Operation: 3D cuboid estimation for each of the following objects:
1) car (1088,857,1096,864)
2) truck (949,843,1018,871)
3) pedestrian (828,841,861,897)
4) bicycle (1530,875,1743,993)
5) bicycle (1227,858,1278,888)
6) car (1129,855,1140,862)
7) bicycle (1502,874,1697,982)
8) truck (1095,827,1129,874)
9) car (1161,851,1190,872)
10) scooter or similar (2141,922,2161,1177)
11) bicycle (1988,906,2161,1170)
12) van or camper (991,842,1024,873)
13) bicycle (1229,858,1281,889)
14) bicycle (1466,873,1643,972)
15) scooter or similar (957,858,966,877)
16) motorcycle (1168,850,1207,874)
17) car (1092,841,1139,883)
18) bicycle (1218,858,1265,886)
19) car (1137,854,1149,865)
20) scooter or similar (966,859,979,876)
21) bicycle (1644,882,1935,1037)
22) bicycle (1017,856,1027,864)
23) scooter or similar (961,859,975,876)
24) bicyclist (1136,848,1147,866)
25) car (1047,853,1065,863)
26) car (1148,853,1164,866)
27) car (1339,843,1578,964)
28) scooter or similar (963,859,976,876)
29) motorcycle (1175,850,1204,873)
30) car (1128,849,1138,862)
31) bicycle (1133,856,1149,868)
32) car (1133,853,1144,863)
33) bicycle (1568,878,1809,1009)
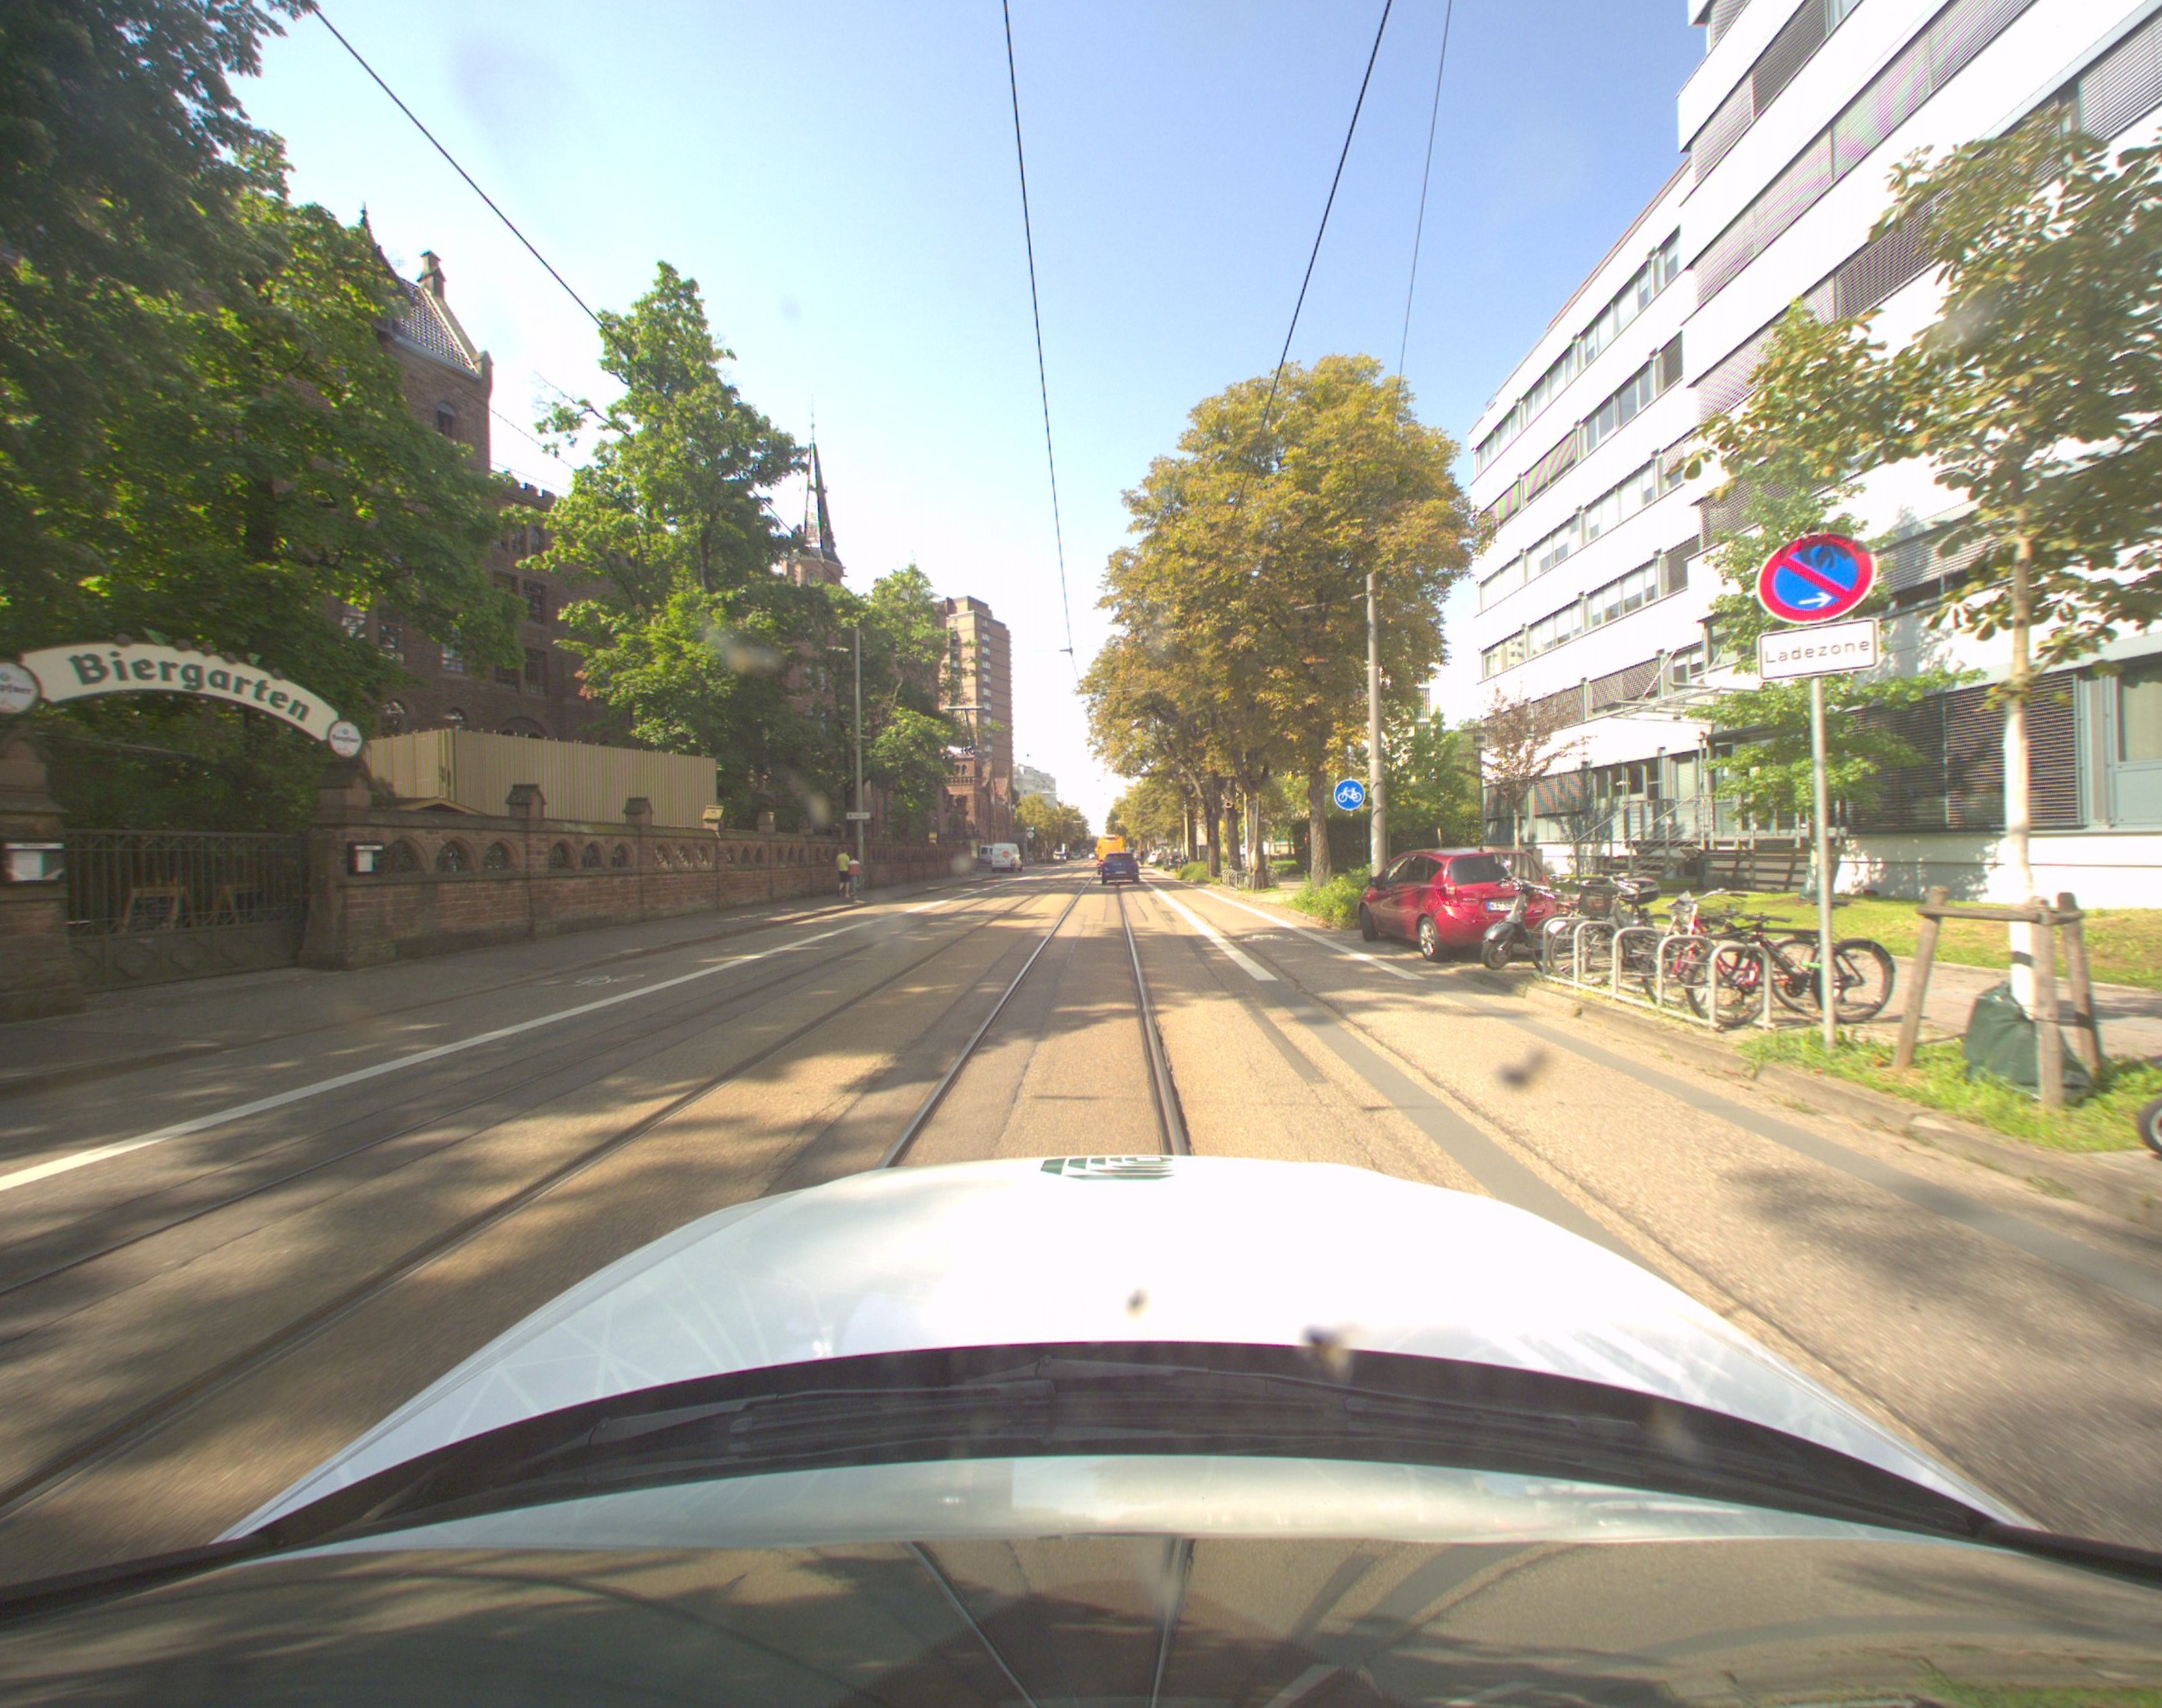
[{"bbox_3d":[2.749,1.615,202.476,1.839,1.492,4.870,-3,0,3],"label":"car"},{"bbox_3d":[-9.398,0.260,78.866,6.287,2.538,2.135,2,1,6],"label":"truck"},{"bbox_3d":[-8.682,0.555,29.923,0.861,2.013,0.983,-1,0,0],"label":"pedestrian"},{"bbox_3d":[5.611,0.797,8.279,1.765,1.071,0.541,-2,0,0],"label":"bicycle"},{"bbox_3d":[6.452,0.709,30.668,1.765,1.050,0.541,-2,0,0],"label":"bicycle"},{"bbox_3d":[11.078,0.908,168.801,1.901,1.431,4.293,-1,0,1],"label":"car"},{"bbox_3d":[5.663,0.798,8.953,1.765,1.071,0.541,-2,0,0],"label":"bicycle"},{"bbox_3d":[2.212,-0.212,58.017,2.127,3.124,6.088,-2,0,2],"label":"truck"},{"bbox_3d":[7.437,0.571,64.287,1.750,1.515,4.610,-2,0,1],"label":"car"},{"bbox_3d":[5.418,0.793,3.197,1.765,1.071,0.541,-2,0,0],"label":"scooter or similar"},{"bbox_3d":[5.420,0.794,3.785,1.765,1.071,0.541,-2,0,0],"label":"bicycle"},{"bbox_3d":[-6.608,0.292,73.943,2.104,2.675,5.960,-1,0,3],"label":"van or camper"},{"bbox_3d":[6.384,0.709,29.991,1.765,1.050,0.541,-2,0,0],"label":"bicycle"},{"bbox_3d":[5.630,0.799,9.729,1.765,1.071,0.541,-2,0,0],"label":"bicycle"},{"bbox_3d":[-7.898,0.887,53.790,0.421,1.178,1.310,-1,0,-13],"label":"scooter or similar"},{"bbox_3d":[7.011,0.526,53.624,2.423,1.516,0.858,-1,0,40],"label":"motorcycle"},{"bbox_3d":[1.710,0.386,40.615,2.127,1.858,5.571,-2,0,2],"label":"car"},{"bbox_3d":[6.525,0.711,33.147,1.765,1.050,0.541,-2,0,0],"label":"bicycle"},{"bbox_3d":[9.533,0.805,125.094,1.736,1.556,4.219,-2,0,2],"label":"car"},{"bbox_3d":[-8.054,0.991,60.406,0.336,1.178,1.185,-1,0,27],"label":"scooter or similar"},{"bbox_3d":[5.490,0.797,6.368,1.765,1.071,0.541,-2,0,0],"label":"bicycle"},{"bbox_3d":[-8.829,0.945,121.840,1.447,1.093,0.399,2,-1,-3],"label":"bicycle"},{"bbox_3d":[-8.067,0.988,58.098,0.336,1.178,1.185,-1,0,27],"label":"scooter or similar"},{"bbox_3d":[6.059,0.268,81.807,1.028,1.812,1.016,-1,0,2],"label":"bicyclist"},{"bbox_3d":[-4.362,0.744,142.324,1.756,1.796,3.965,-1,0,-26],"label":"car"},{"bbox_3d":[8.752,0.613,95.159,1.653,1.481,4.219,-2,0,2],"label":"car"},{"bbox_3d":[5.443,0.621,12.431,1.749,1.462,4.277,-2,0,2],"label":"car"},{"bbox_3d":[-8.112,0.990,59.272,0.336,1.178,1.185,-1,0,27],"label":"scooter or similar"},{"bbox_3d":[7.340,0.523,55.318,0.853,1.516,2.436,-1,0,-22],"label":"motorcycle"},{"bbox_3d":[11.454,0.321,179.397,1.986,2.755,5.762,-1,0,1],"label":"car"},{"bbox_3d":[6.035,0.760,81.826,1.396,1.134,4.002,-1,0,2],"label":"bicycle"},{"bbox_3d":[10.438,0.707,148.282,1.734,1.668,4.362,-1,0,1],"label":"car"},{"bbox_3d":[5.531,0.798,7.469,1.765,1.071,0.541,-2,0,0],"label":"bicycle"}]
